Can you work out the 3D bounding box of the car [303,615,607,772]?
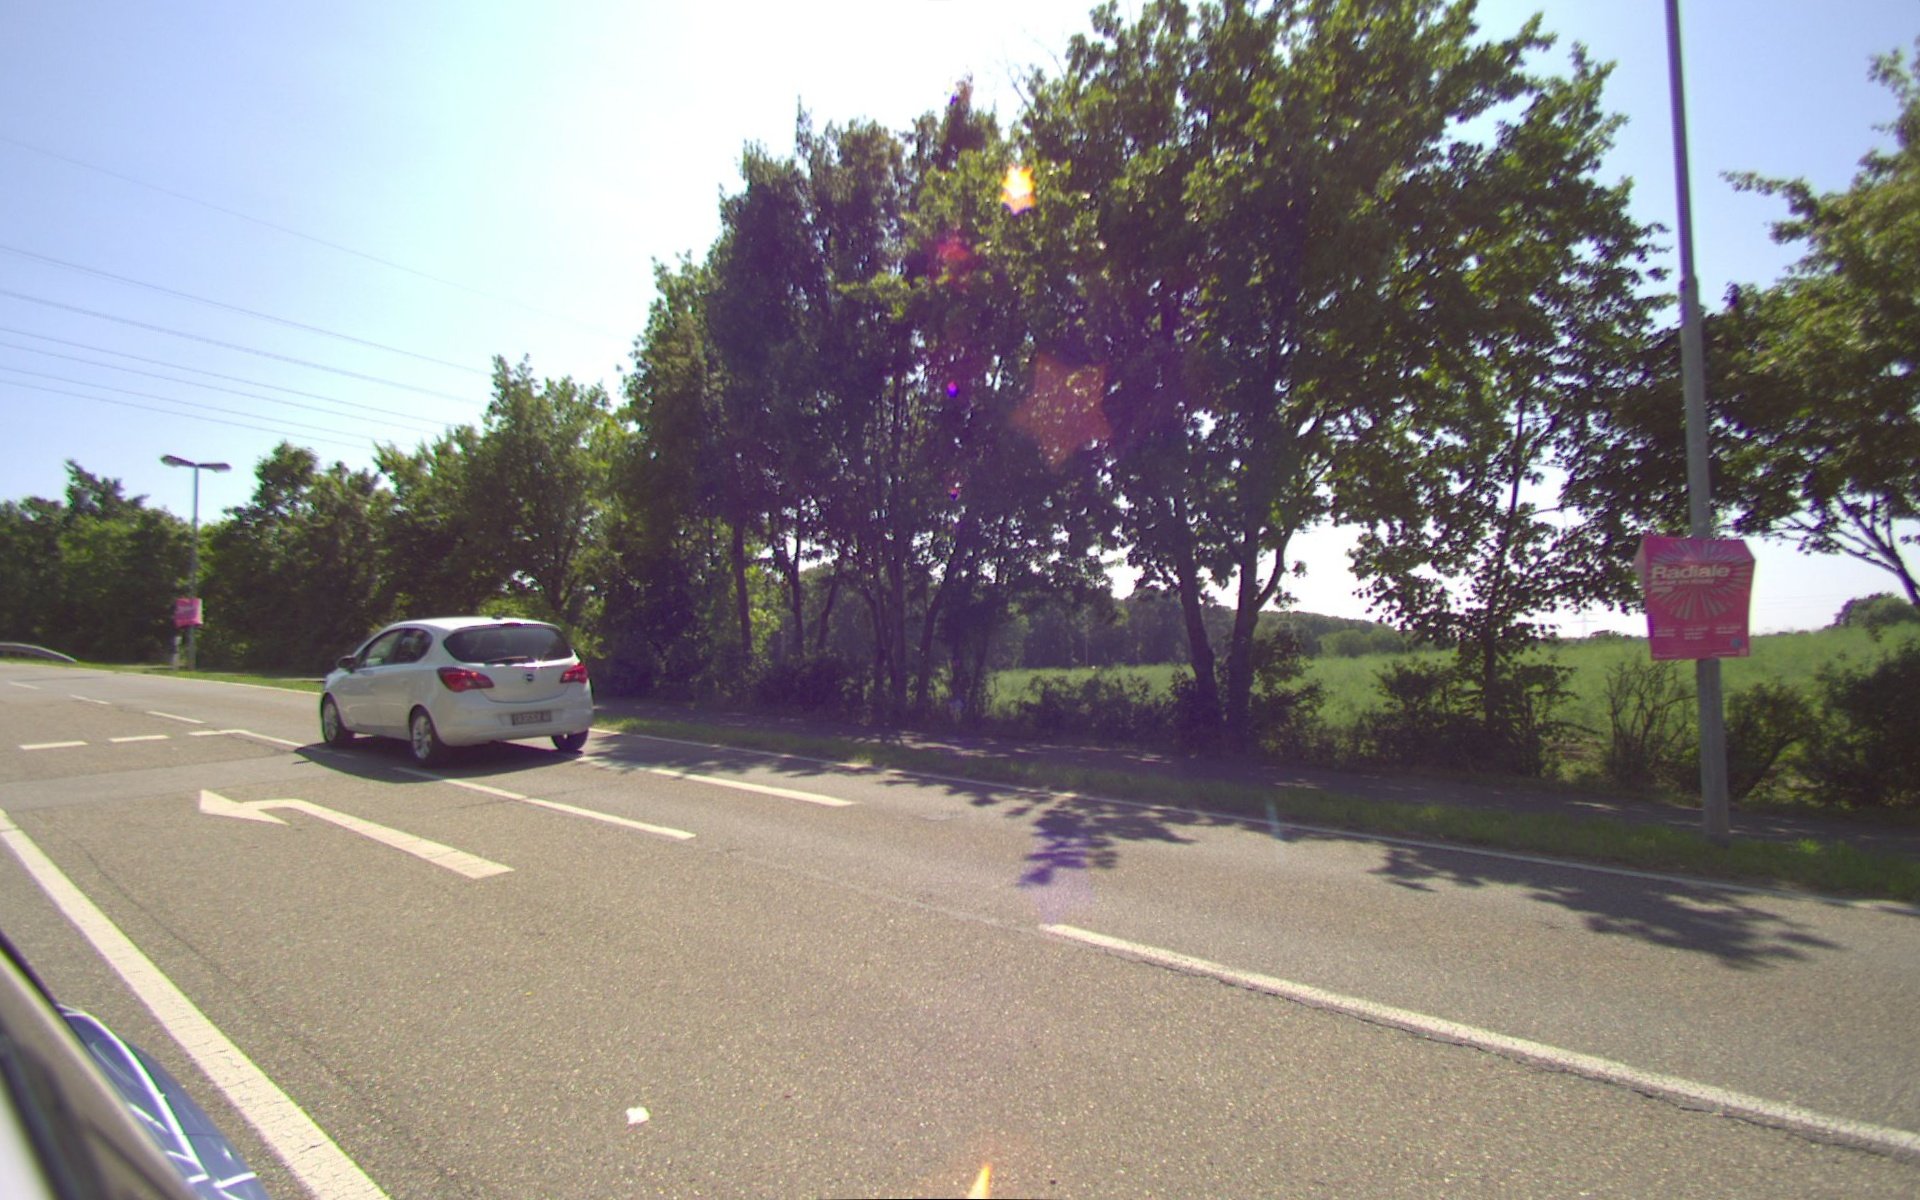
[{"bbox_3d":[-5.705,0.922,11.244,3.894,1.445,1.632,-2,-2,40],"label":"car"}]
